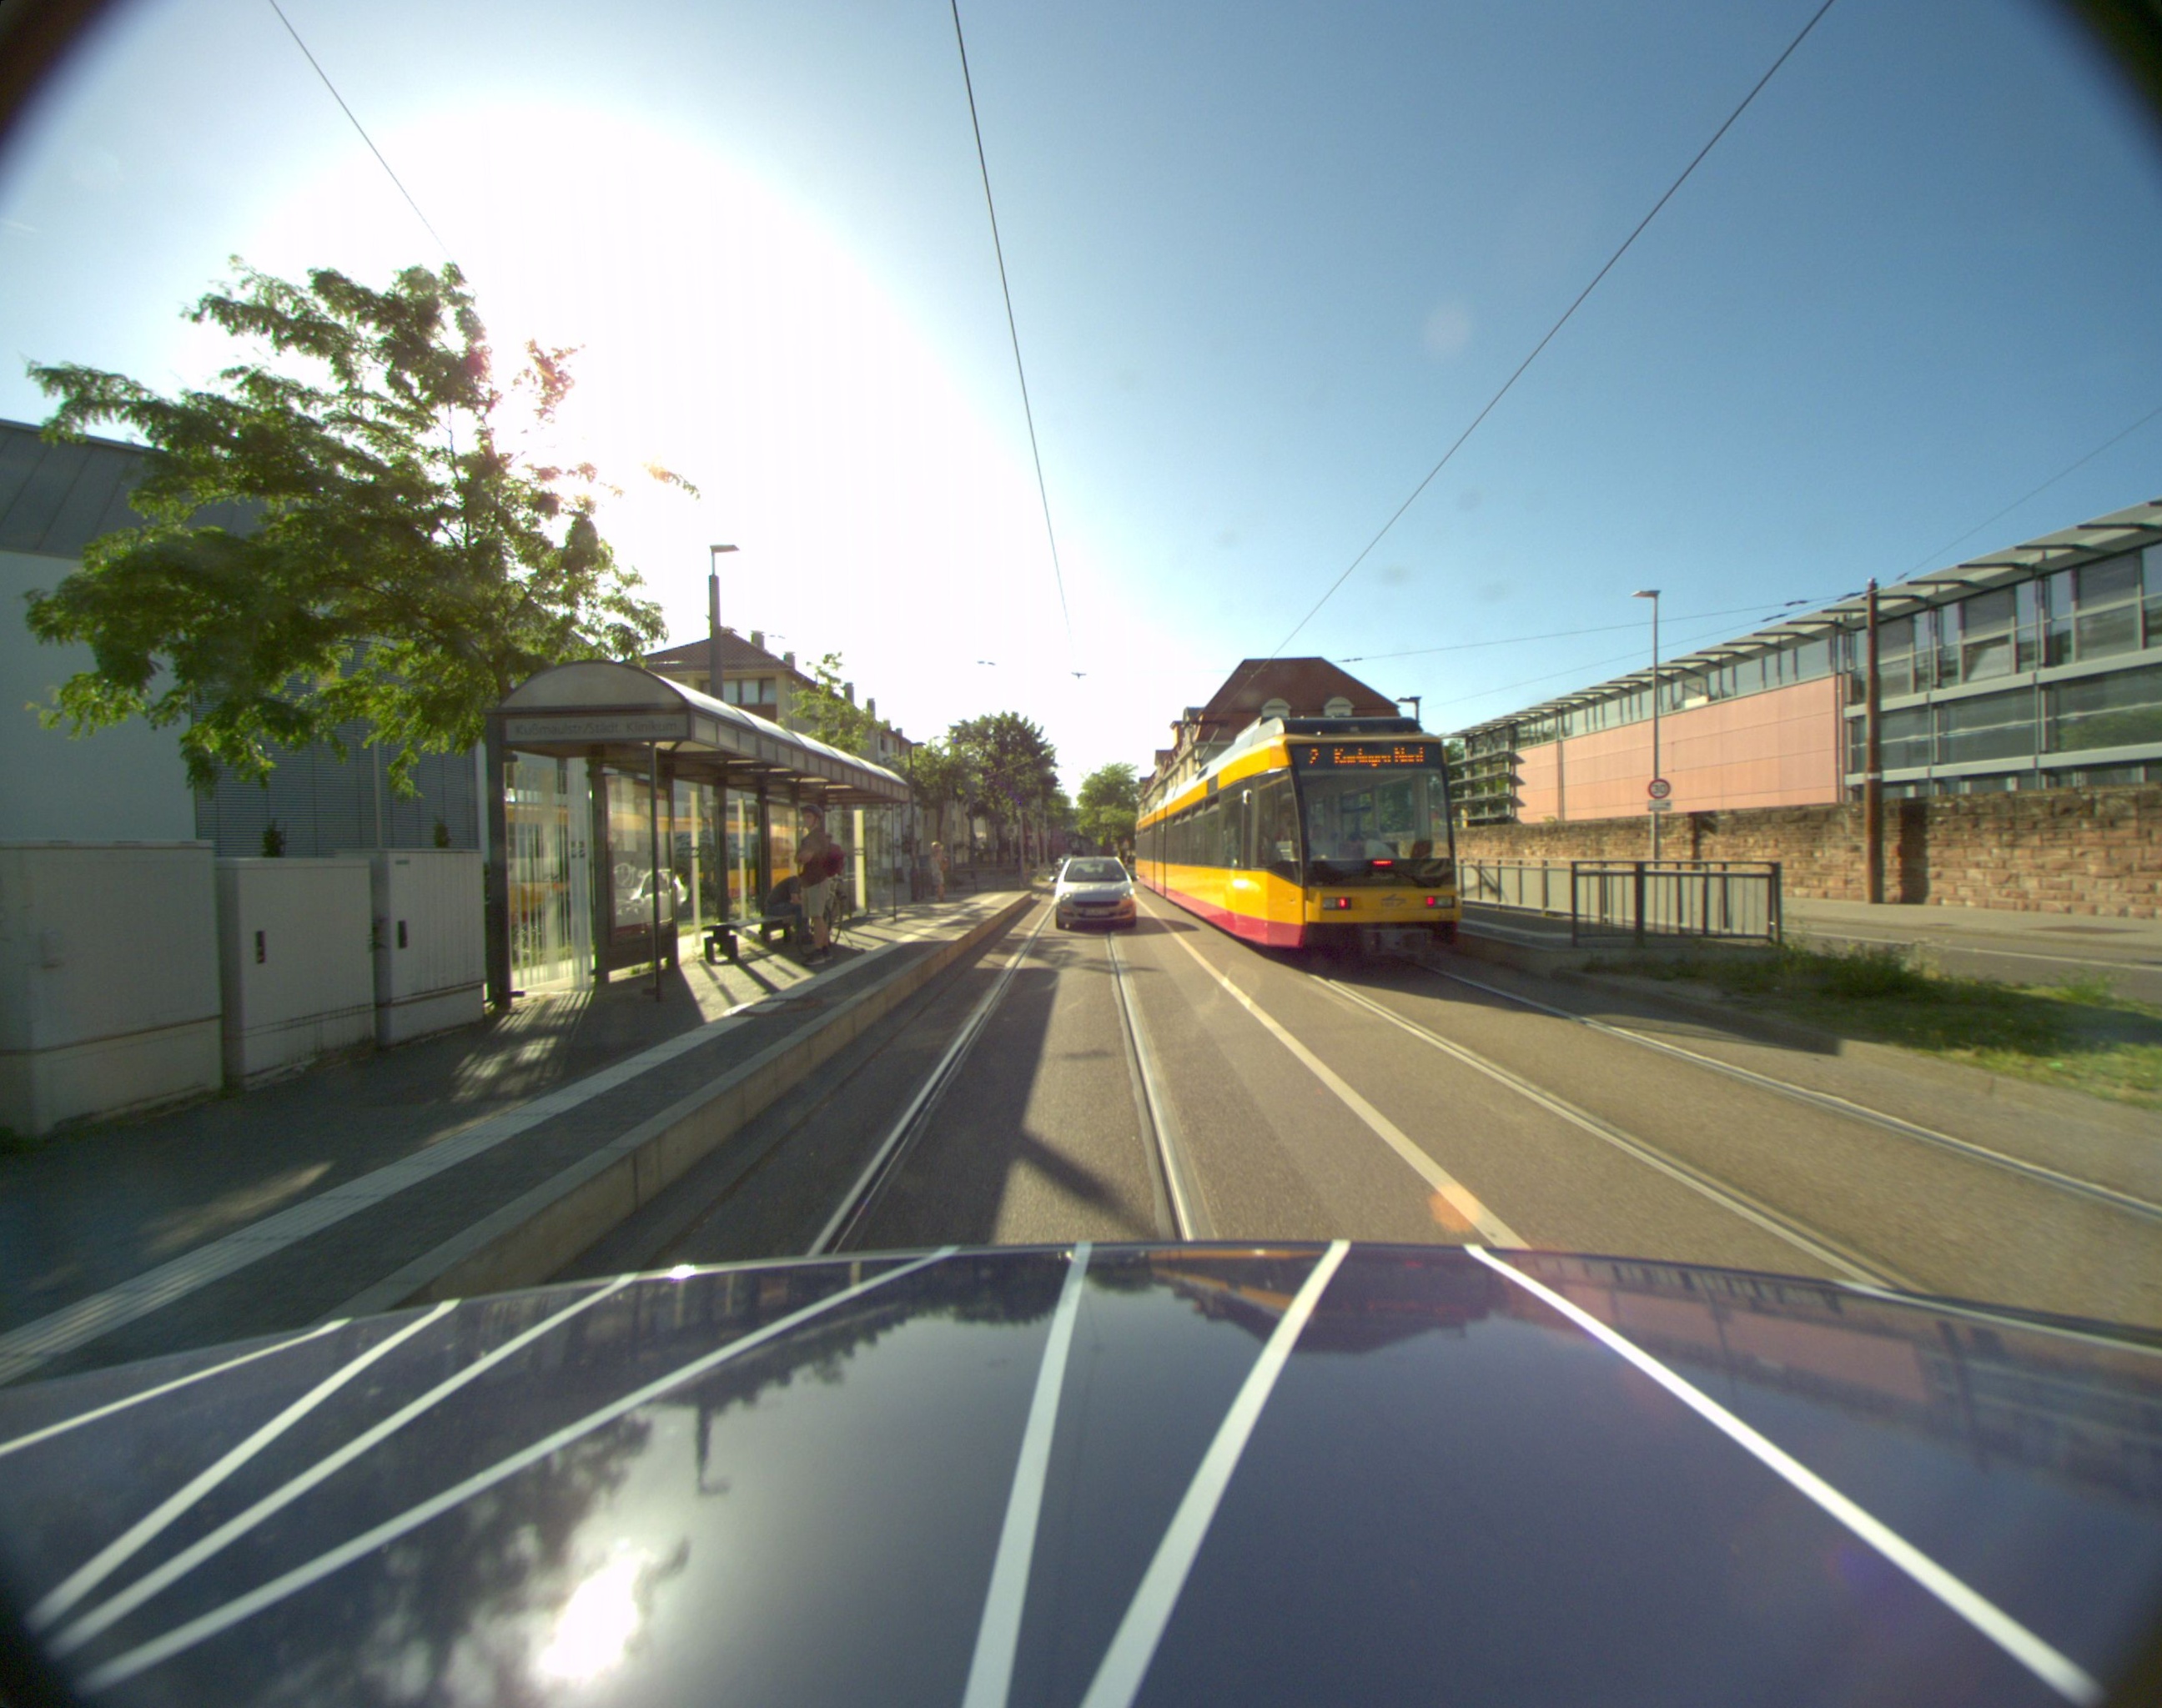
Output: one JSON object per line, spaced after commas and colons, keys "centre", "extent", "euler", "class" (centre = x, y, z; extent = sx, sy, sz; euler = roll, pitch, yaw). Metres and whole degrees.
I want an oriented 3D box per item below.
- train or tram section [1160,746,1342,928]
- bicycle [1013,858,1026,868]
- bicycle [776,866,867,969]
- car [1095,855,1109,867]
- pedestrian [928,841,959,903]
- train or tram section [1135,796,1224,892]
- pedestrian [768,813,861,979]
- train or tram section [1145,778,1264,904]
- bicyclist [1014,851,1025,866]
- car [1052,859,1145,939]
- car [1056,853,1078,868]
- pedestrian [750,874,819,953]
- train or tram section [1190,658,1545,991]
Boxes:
{"centre": [3.640, -0.342, 18.029], "extent": [2.811, 3.439, 6.668], "euler": [-2, 0, 1], "class": "train or tram section"}
{"centre": [-6.021, 0.902, 74.490], "extent": [0.826, 0.880, 2.199], "euler": [-2, 0, 5], "class": "bicycle"}
{"centre": [-3.504, 0.805, 10.439], "extent": [0.621, 1.222, 1.966], "euler": [-2, 1, -3], "class": "bicycle"}
{"centre": [2.715, 0.885, 99.303], "extent": [1.742, 1.450, 4.405], "euler": [-2, 0, 0], "class": "car"}
{"centre": [-3.904, 0.508, 21.573], "extent": [0.673, 1.694, 0.690], "euler": [-3, 1, 0], "class": "pedestrian"}
{"centre": [3.863, -0.398, 31.327], "extent": [2.811, 3.439, 6.668], "euler": [-2, 0, 1], "class": "train or tram section"}
{"centre": [-3.118, 0.479, 8.953], "extent": [0.712, 1.843, 0.729], "euler": [-3, 1, 2], "class": "pedestrian"}
{"centre": [3.751, -0.374, 24.682], "extent": [2.811, 3.439, 6.668], "euler": [-2, 0, 1], "class": "train or tram section"}
{"centre": [-6.040, 0.424, 74.430], "extent": [0.818, 1.491, 1.258], "euler": [-1, 0, 5], "class": "bicyclist"}
{"centre": [0.325, 0.871, 16.334], "extent": [1.742, 1.450, 3.693], "euler": [-2, 0, 0], "class": "car"}
{"centre": [-1.425, 0.631, 76.989], "extent": [1.743, 1.450, 3.691], "euler": [-2, 0, -8], "class": "car"}
{"centre": [-4.513, 0.893, 11.606], "extent": [0.740, 1.111, 0.658], "euler": [-3, 1, 0], "class": "pedestrian"}
{"centre": [3.524, -0.318, 11.393], "extent": [2.811, 3.439, 6.668], "euler": [-2, 0, 1], "class": "train or tram section"}
